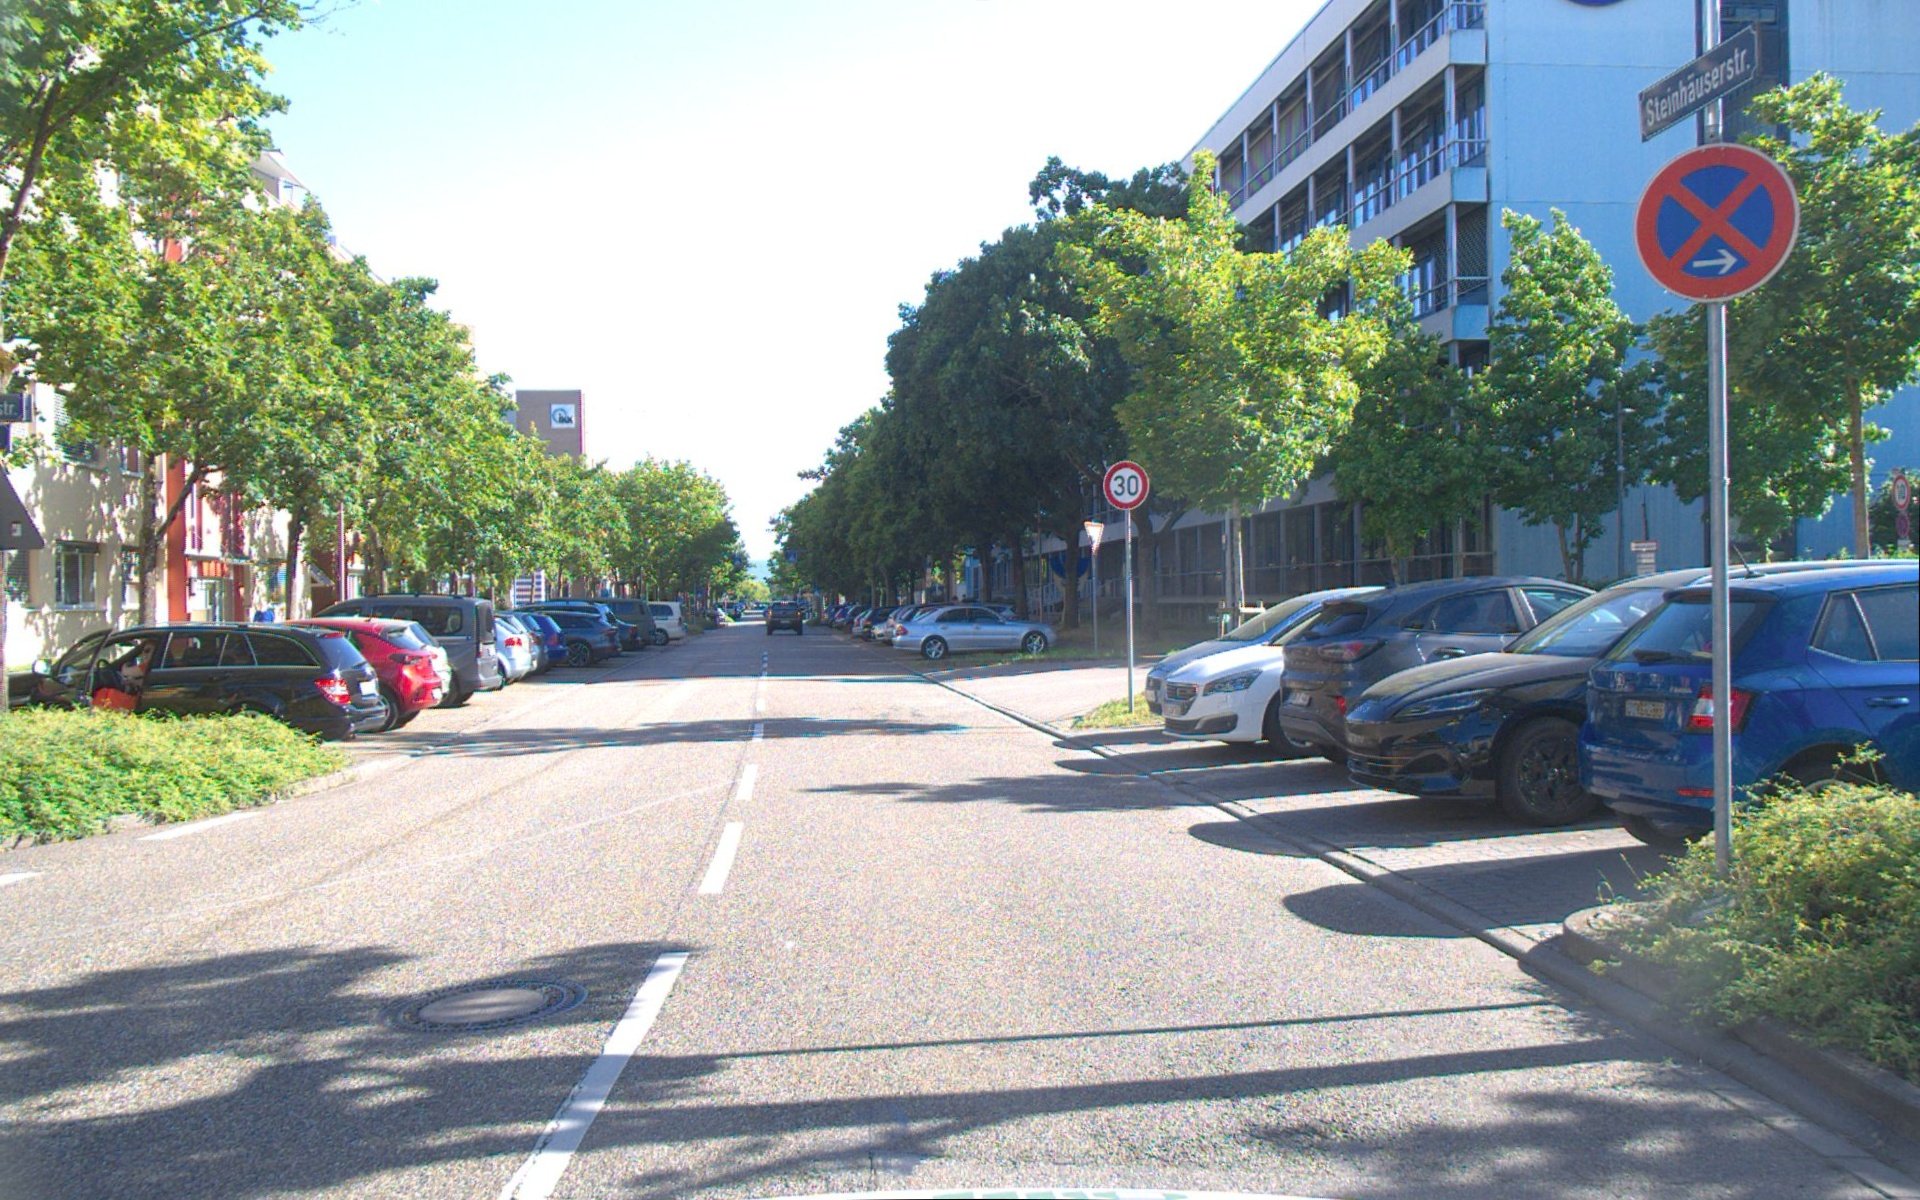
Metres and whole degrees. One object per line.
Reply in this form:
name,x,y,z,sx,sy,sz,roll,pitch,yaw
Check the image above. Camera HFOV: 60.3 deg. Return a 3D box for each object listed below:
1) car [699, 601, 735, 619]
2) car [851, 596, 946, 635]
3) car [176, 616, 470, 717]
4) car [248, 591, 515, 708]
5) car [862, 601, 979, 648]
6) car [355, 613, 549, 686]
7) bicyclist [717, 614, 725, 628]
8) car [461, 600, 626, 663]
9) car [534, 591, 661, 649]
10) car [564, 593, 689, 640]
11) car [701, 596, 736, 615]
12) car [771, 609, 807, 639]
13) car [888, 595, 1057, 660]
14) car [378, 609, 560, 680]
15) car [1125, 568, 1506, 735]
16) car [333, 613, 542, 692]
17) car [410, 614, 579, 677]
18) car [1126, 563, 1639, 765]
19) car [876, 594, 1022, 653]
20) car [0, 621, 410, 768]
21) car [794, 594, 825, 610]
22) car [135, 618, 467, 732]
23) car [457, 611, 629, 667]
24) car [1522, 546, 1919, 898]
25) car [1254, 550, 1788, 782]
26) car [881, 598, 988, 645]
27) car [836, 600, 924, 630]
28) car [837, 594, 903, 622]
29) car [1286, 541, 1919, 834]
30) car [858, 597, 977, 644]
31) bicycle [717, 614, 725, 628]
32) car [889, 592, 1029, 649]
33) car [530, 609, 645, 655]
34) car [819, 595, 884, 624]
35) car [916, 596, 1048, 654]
car,-28.672,1.189,195.446,3.907,2.049,1.999,-2,0,-3
car,-2.663,0.644,71.417,3.896,1.444,1.707,-3,0,-9
car,-9.556,0.978,25.064,3.817,1.448,1.737,0,0,-7
car,-9.424,0.795,27.219,3.817,1.843,1.783,0,0,-7
car,-1.543,0.928,63.609,4.207,1.519,2.000,-3,0,-9
car,-10.597,1.021,34.734,3.659,1.472,1.855,0,0,-11
bicyclist,-18.790,1.649,130.216,0.522,1.110,0.794,-2,0,-4
car,-11.869,0.895,47.319,4.233,1.747,1.962,0,0,-2
car,-13.530,0.745,61.921,4.400,2.126,2.081,0,0,-5
car,-14.435,0.693,71.899,5.158,2.001,1.940,0,0,-7
car,-28.926,0.642,198.519,3.907,2.049,1.999,-2,0,-3
car,-9.552,1.319,92.162,1.955,1.668,3.994,0,0,-7
car,0.323,0.757,46.320,4.491,1.501,1.744,-3,0,-6
car,-11.005,0.981,37.269,3.656,1.535,1.856,0,0,-8
car,4.047,0.562,19.035,3.880,1.541,1.696,-4,0,-13
car,-10.162,1.004,32.413,3.659,1.472,1.871,0,0,-11
car,-11.091,1.064,39.610,3.656,1.452,1.838,0,0,-8
car,4.120,0.584,16.418,4.472,1.541,1.976,-4,0,-13
car,-0.372,0.725,51.738,4.426,1.569,1.921,-3,0,-3
car,-8.242,0.969,17.617,4.178,1.448,1.738,0,0,-3
car,-19.847,0.236,218.554,3.913,2.049,1.996,-2,0,-9
car,-8.818,0.988,22.407,3.817,1.448,1.737,0,0,-7
car,-11.220,1.042,44.752,4.321,1.452,1.769,0,0,-9
car,5.160,0.464,8.654,3.732,1.473,1.743,-6,0,-5
car,4.605,0.518,13.898,3.802,1.541,1.748,-4,0,-6
car,-0.954,0.778,61.335,3.676,1.519,1.612,-3,0,-11
car,-4.551,0.836,93.251,4.736,1.444,2.028,-3,0,-9
car,-5.542,0.489,101.572,3.873,1.541,1.810,-3,0,-6
car,4.768,0.503,11.351,4.463,1.541,2.155,-4,0,-6
car,-1.713,0.793,65.908,4.505,1.519,1.760,-4,0,-7
bicycle,-18.792,1.677,130.213,0.522,1.091,1.299,-2,0,-4
car,-0.057,0.657,54.170,4.425,1.569,1.921,-3,0,-2
car,-12.255,1.041,54.526,3.661,1.452,1.719,0,0,-13
car,-7.584,0.665,115.650,4.272,1.733,1.808,-3,0,-10
car,0.628,0.728,49.318,3.762,1.472,1.921,-3,0,-3
